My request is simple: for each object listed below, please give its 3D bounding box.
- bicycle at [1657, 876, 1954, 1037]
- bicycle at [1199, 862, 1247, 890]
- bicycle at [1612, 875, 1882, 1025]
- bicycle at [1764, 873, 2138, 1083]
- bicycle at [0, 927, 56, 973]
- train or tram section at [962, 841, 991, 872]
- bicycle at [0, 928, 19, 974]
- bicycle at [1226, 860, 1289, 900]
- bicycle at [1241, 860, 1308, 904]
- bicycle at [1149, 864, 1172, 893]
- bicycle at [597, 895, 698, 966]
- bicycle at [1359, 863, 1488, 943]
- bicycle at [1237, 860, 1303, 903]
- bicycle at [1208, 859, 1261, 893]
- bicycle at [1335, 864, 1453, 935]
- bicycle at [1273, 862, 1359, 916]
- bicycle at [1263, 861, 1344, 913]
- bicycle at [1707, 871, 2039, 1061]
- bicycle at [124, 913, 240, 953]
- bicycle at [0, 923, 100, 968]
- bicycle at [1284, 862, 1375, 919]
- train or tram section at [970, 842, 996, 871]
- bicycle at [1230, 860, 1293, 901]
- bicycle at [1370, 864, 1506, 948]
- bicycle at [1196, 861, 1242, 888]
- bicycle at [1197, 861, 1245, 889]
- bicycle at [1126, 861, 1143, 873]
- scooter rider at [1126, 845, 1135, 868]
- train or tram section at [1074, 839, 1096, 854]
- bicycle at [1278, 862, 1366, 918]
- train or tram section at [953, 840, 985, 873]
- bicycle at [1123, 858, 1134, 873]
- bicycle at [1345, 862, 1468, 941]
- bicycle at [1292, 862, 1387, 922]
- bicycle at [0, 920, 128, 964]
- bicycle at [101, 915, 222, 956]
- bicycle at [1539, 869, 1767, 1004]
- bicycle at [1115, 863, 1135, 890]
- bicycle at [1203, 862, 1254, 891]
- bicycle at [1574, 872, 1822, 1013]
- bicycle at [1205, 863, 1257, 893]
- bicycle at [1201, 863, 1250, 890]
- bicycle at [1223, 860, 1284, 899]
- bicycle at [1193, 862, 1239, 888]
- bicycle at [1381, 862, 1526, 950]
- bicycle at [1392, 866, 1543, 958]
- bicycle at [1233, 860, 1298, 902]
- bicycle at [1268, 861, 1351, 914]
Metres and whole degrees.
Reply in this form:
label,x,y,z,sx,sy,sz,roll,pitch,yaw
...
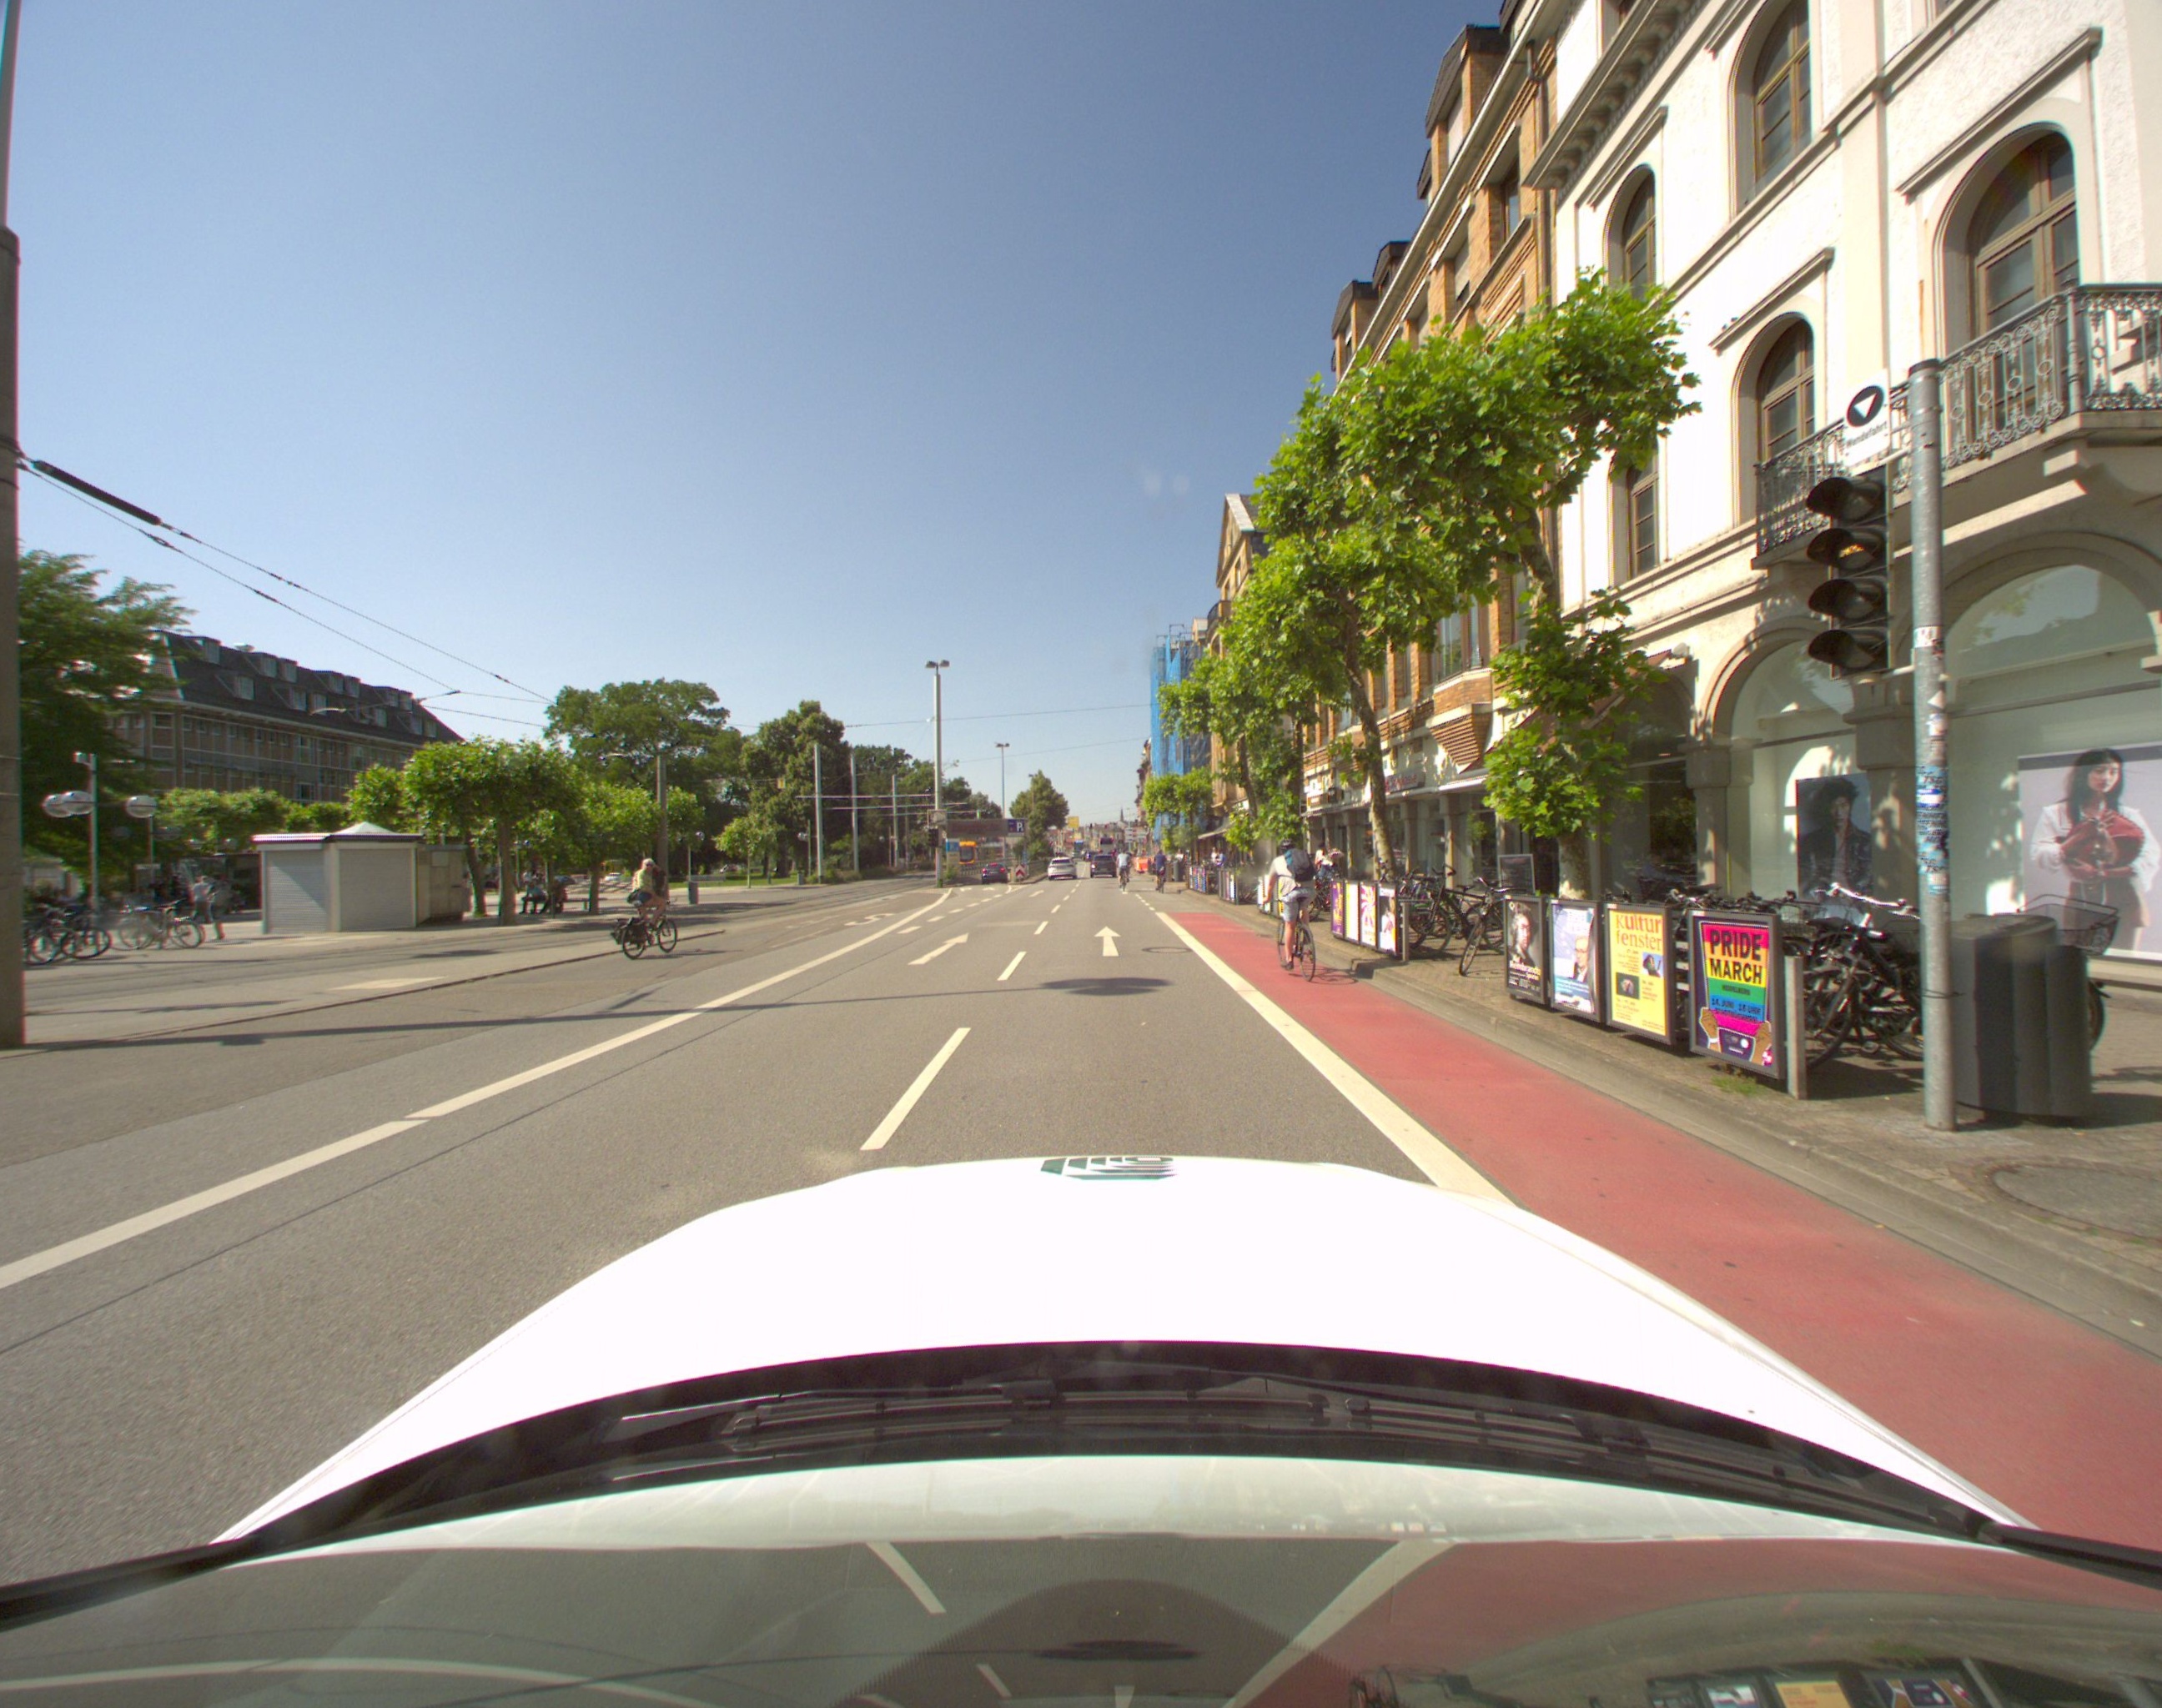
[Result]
label,x,y,z,sx,sy,sz,roll,pitch,yaw
bicycle,5.219,0.714,5.910,1.747,1.068,0.482,-1,0,-2
bicycle,5.436,0.832,31.190,1.747,1.018,0.482,-1,1,-2
bicycle,5.210,0.729,6.414,1.747,1.087,0.482,-1,0,-2
bicycle,5.160,0.708,4.878,1.747,1.147,0.482,-1,0,-2
bicycle,-21.877,1.911,16.230,1.866,0.856,0.544,0,0,-12
train or tram section,-12.447,0.252,97.563,2.604,3.581,6.104,0,0,1
bicycle,-21.871,1.892,15.636,1.866,0.856,0.544,0,0,-12
bicycle,5.301,0.773,24.489,1.747,1.147,0.482,-1,0,-2
bicycle,5.340,0.770,22.517,1.747,1.147,0.482,-1,0,-2
bicycle,3.185,0.975,32.933,0.732,1.093,1.910,0,0,0
bicycle,-8.216,1.418,15.533,0.815,1.120,1.874,-4,0,1
bicycle,5.153,0.727,12.294,1.747,1.147,0.482,-1,0,-2
bicycle,5.337,0.771,23.013,1.747,1.147,0.482,-1,0,-2
bicycle,5.379,0.780,28.517,1.747,1.147,0.482,-1,0,-2
bicycle,5.151,0.739,13.439,1.747,1.123,0.482,-1,0,-2
bicycle,5.184,0.761,18.019,1.747,1.147,0.482,-1,0,-2
bicycle,5.192,0.760,19.025,1.747,1.147,0.482,-1,0,-2
bicycle,5.209,0.711,5.400,1.747,1.147,0.482,-1,0,-2
bicycle,-21.598,1.890,19.600,1.866,0.869,0.579,0,0,-12
bicycle,-21.749,1.881,16.869,1.866,0.856,0.544,0,0,-12
bicycle,5.186,0.756,17.014,1.747,1.147,0.482,-1,0,-2
train or tram section,-12.383,0.263,103.300,2.604,3.581,5.357,0,0,1
bicycle,5.317,0.772,24.009,1.747,1.147,0.482,-1,0,-2
bicycle,5.146,0.742,11.783,1.747,1.147,0.482,-1,0,-2
bicycle,5.467,0.822,32.269,1.747,1.018,0.482,-1,0,-2
bicycle,5.449,0.819,31.759,1.747,1.018,0.482,-1,0,-2
bicycle,5.676,1.376,86.526,1.765,1.178,0.609,0,0,1
scooter rider,3.831,0.184,63.024,0.686,1.729,0.778,0,0,1
train or tram section,0.959,-1.788,195.040,2.801,3.581,10.073,0,0,15
bicycle,5.171,0.758,17.528,1.747,1.147,0.482,-1,0,-2
train or tram section,-12.534,0.240,91.472,2.604,3.581,6.104,0,0,1
bicycle,3.446,0.856,59.562,0.731,1.093,1.898,0,0,0
bicycle,5.151,0.738,12.930,1.747,1.187,0.482,-1,0,-2
bicycle,5.201,0.755,16.427,1.747,1.147,0.499,-1,0,-2
bicycle,-21.995,1.883,17.575,1.866,0.869,0.579,0,0,-12
bicycle,-21.462,1.890,19.043,1.866,0.869,0.579,0,0,-12
bicycle,5.186,0.727,7.426,1.747,1.147,0.482,-1,0,-2
bicycle,1.862,0.958,34.622,0.732,1.093,1.897,0,0,0
bicycle,5.376,0.831,29.762,1.747,1.018,0.482,-1,0,-2
bicycle,5.208,0.728,6.919,1.747,1.105,0.482,-1,0,-2
bicycle,5.359,0.839,29.068,1.747,1.018,0.482,-1,0,-2
bicycle,5.410,0.832,30.498,1.712,0.985,0.482,-1,0,-2
bicycle,5.289,0.774,24.987,1.747,1.147,0.482,-1,0,-2
bicycle,5.449,0.852,32.868,1.747,1.018,0.482,-1,0,-2
bicycle,5.129,0.709,11.257,1.747,1.147,0.527,-1,0,-2
bicycle,5.059,0.748,10.710,1.747,1.147,0.482,-1,0,-2
bicycle,5.327,0.771,23.514,1.747,1.147,0.482,-1,0,-2
bicycle,5.188,0.762,18.522,1.747,1.147,0.482,-1,0,-2
